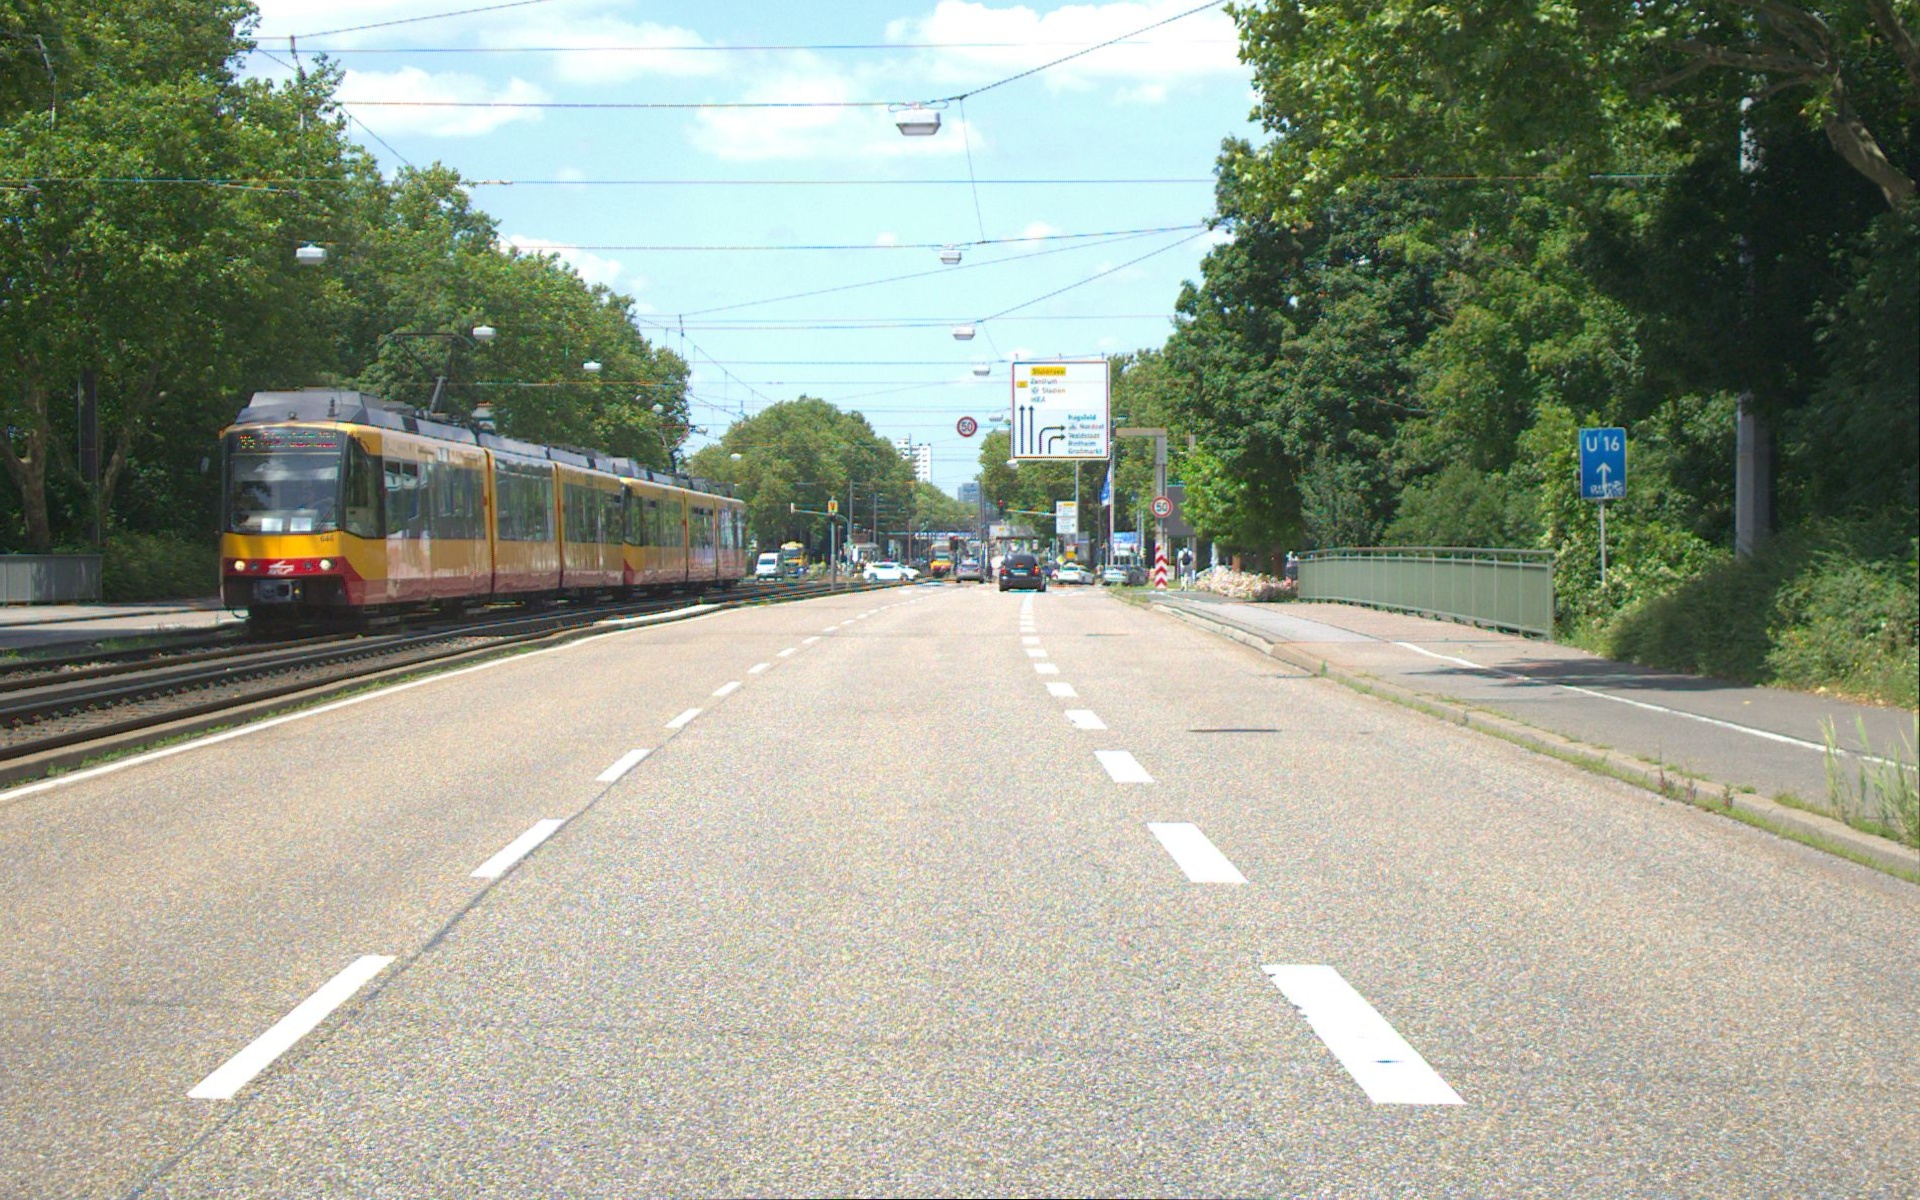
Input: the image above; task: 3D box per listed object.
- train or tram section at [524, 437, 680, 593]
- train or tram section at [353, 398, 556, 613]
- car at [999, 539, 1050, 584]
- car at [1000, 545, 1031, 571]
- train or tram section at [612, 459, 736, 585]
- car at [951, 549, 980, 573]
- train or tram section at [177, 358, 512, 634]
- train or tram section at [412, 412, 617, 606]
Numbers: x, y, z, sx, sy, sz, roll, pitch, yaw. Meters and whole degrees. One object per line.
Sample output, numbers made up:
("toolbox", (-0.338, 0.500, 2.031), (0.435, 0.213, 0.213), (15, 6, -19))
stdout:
("train or tram section", (-10.070, -2.361, 98.187), (3.038, 4.140, 13.483), (0, 1, 0))
("train or tram section", (-10.469, -1.936, 72.049), (3.048, 4.252, 8.003), (0, 1, 0))
("car", (2.671, -1.601, 142.855), (1.899, 1.799, 3.977), (2, 1, -1))
("car", (3.512, -2.667, 218.460), (1.876, 1.534, 3.777), (2, 1, 0))
("train or tram section", (-9.894, -2.686, 120.498), (3.038, 4.126, 13.982), (0, 1, 0))
("car", (0.388, -2.658, 235.650), (1.842, 1.544, 3.777), (2, 1, -1))
("train or tram section", (-10.513, -1.736, 60.841), (3.048, 4.252, 15.423), (0, 1, 0))
("train or tram section", (-10.450, -2.111, 82.277), (3.048, 4.252, 14.037), (0, 1, 0))
